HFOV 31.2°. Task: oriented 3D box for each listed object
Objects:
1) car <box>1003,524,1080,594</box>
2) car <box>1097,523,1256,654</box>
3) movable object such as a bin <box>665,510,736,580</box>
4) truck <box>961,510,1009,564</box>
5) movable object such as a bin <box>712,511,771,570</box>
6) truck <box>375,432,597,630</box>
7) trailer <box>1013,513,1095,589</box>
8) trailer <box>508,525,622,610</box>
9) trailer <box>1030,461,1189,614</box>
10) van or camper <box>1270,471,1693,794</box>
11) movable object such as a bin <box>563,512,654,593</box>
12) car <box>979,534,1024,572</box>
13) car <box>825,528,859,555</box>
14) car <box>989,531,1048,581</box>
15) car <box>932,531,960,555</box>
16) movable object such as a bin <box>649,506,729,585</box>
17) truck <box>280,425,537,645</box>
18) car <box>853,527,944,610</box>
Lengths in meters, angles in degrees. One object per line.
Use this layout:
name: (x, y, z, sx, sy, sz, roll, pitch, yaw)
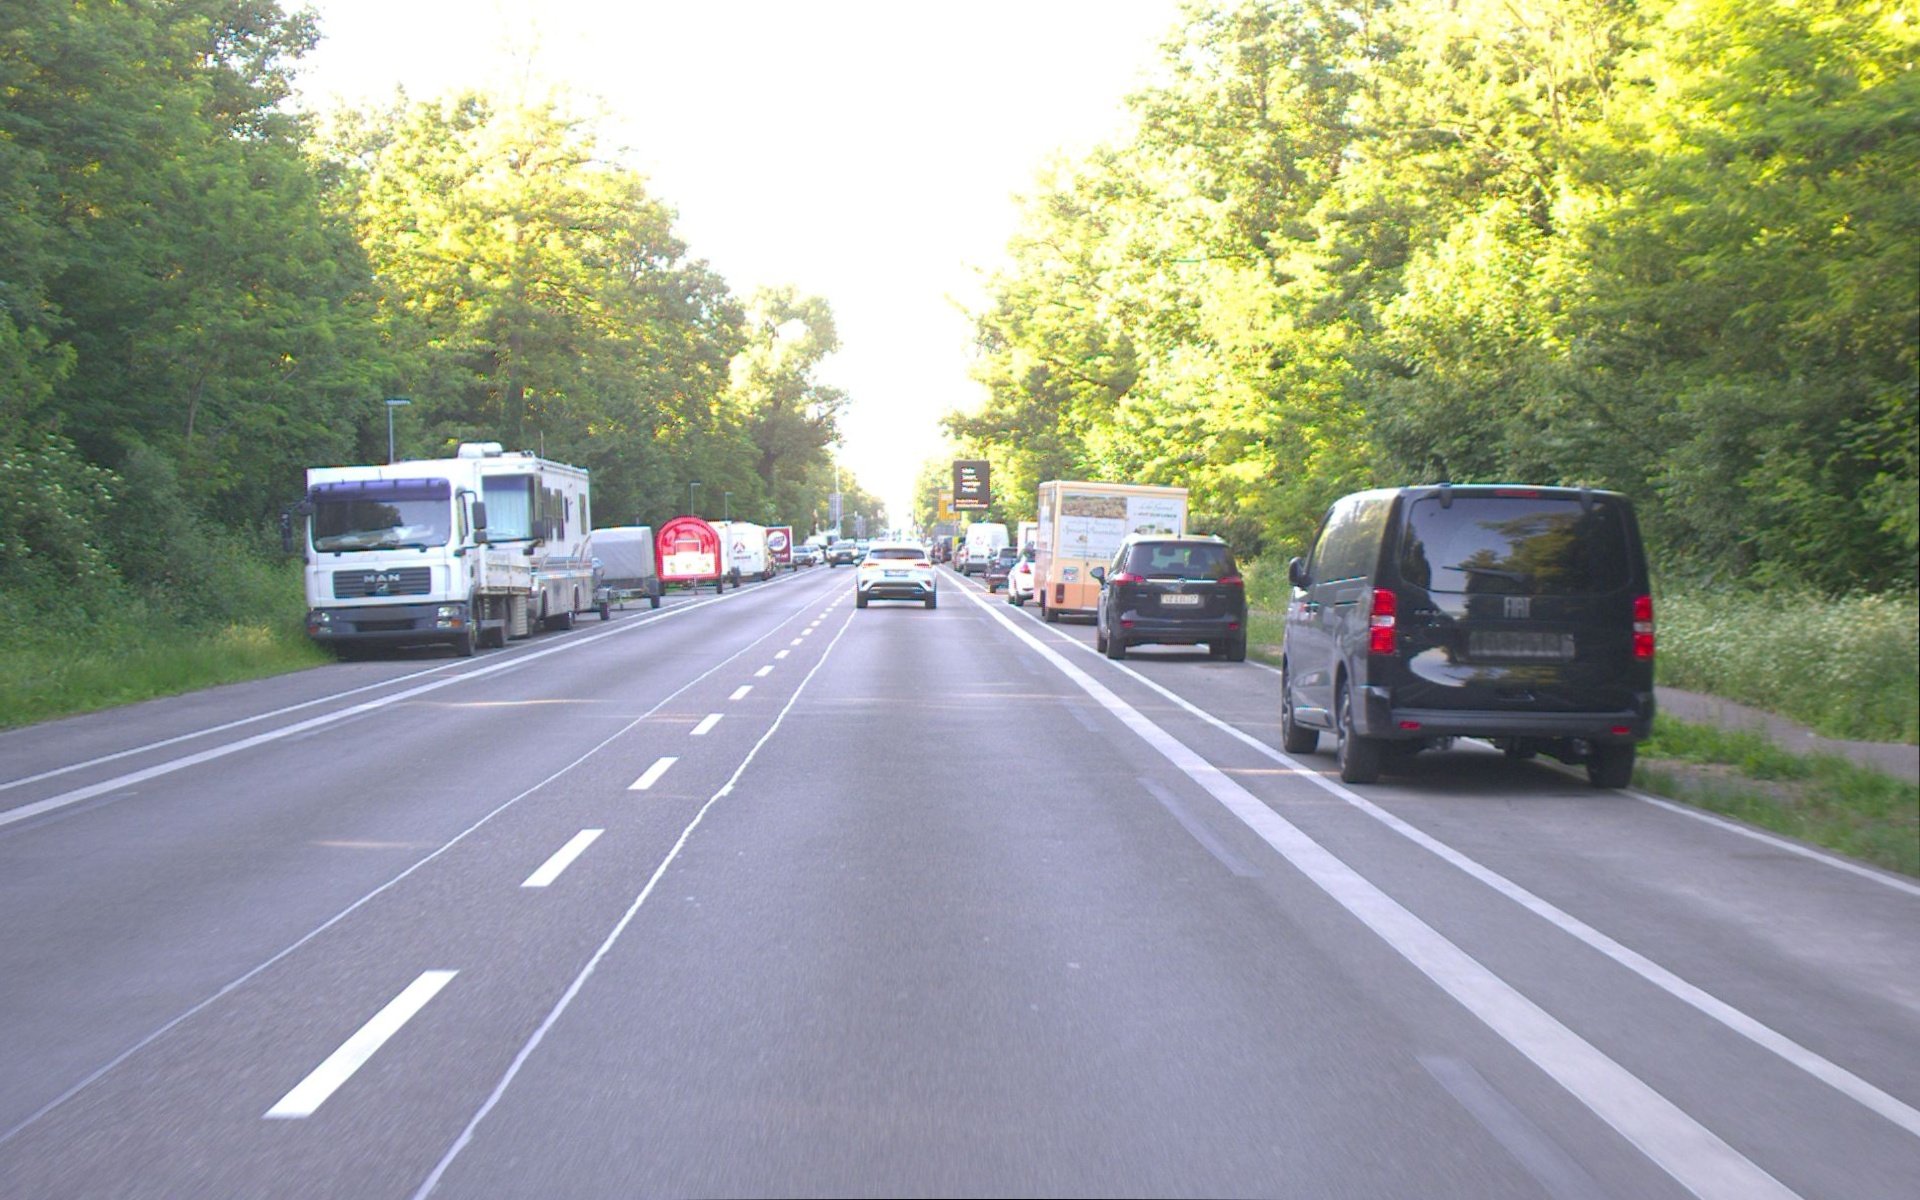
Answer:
car: (1.971, -1.015, 84.138, 1.732, 1.678, 4.000, 0, 1, -1)
car: (2.845, -0.189, 45.997, 1.841, 1.656, 4.000, 1, 1, 0)
movable object such as a bin: (-9.469, -2.020, 125.687, 2.322, 2.493, 4.000, 0, 1, -1)
truck: (1.128, -2.940, 159.013, 2.096, 2.444, 5.680, 0, 1, -1)
movable object such as a bin: (-9.402, -2.575, 148.296, 2.322, 2.493, 4.000, 0, 1, -1)
truck: (-8.572, -1.267, 63.488, 2.707, 3.336, 10.924, 0, 1, -1)
trailer: (2.457, -1.299, 90.821, 1.993, 1.963, 4.000, 0, 1, -1)
trailer: (-8.431, -0.719, 73.619, 1.993, 1.744, 4.328, 0, 1, -1)
trailer: (2.893, -1.245, 68.135, 2.757, 2.860, 6.589, 0, 1, -1)
van or camper: (3.394, 0.146, 23.423, 1.993, 1.925, 5.199, 1, 1, -1)
movable object such as a bin: (-8.867, -1.213, 86.996, 1.953, 2.007, 4.000, 0, 1, -1)
car: (1.615, -1.853, 135.248, 1.656, 1.473, 3.754, 0, 1, -1)
car: (-7.436, -3.682, 216.371, 1.993, 1.672, 4.000, -2, 1, -1)
car: (1.757, -1.340, 104.211, 1.656, 1.473, 3.754, 0, 1, -1)
car: (-0.883, -3.503, 211.915, 1.656, 1.473, 3.754, 0, 1, -1)
movable object such as a bin: (-8.745, -1.781, 111.294, 2.322, 2.493, 4.000, 0, 1, -1)
truck: (-8.232, -0.983, 52.244, 2.707, 3.083, 7.990, 0, 1, -1)
car: (-1.392, -0.754, 78.998, 2.028, 1.834, 4.029, 0, 1, 0)
